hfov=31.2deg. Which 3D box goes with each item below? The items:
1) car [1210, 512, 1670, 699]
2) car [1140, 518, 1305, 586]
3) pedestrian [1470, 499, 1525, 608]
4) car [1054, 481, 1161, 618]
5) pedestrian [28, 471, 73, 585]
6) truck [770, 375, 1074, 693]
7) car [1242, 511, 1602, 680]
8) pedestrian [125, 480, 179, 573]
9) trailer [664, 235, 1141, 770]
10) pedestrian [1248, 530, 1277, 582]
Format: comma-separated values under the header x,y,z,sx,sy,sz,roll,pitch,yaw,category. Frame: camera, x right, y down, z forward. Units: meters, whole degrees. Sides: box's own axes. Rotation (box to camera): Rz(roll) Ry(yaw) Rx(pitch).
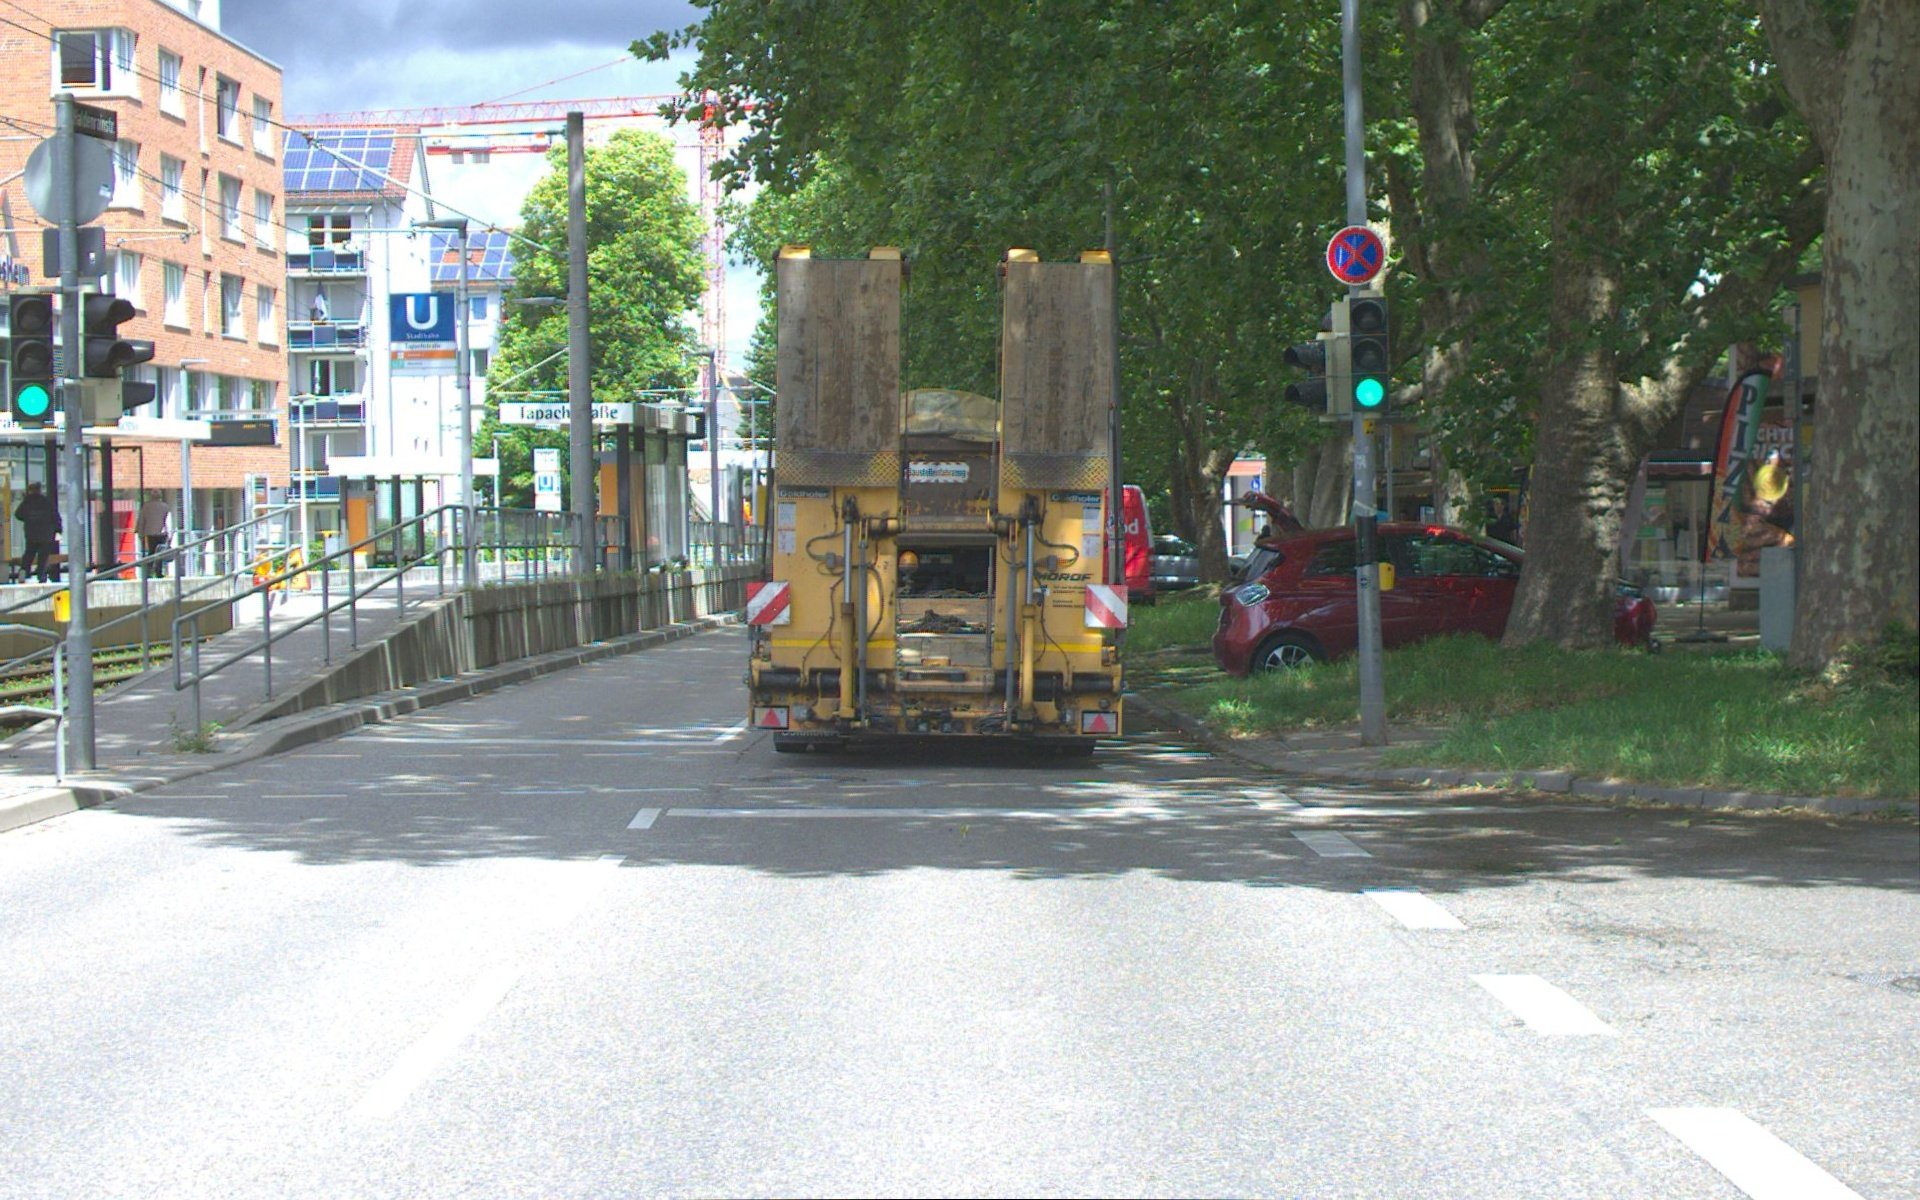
x,y,z,sx,sy,sz,roll,pitch,yaw,category
4.339,0.036,31.550,4.030,1.606,1.730,-1,1,4,car
6.518,-1.192,85.681,3.829,1.557,1.620,-2,1,-5,car
9.526,-0.818,60.968,0.743,1.877,0.941,-3,0,0,pedestrian
2.960,-1.034,70.097,1.904,2.572,6.834,-2,1,1,car
-14.197,-1.124,53.668,0.534,1.757,0.528,-1,1,-2,pedestrian
-0.374,-0.720,37.937,2.989,3.124,7.888,0,1,0,truck
4.785,-0.057,35.912,3.406,1.509,1.610,-4,1,-3,car
-14.231,-1.287,60.582,0.751,1.623,0.816,0,1,1,pedestrian
-0.382,-0.740,28.435,3.154,3.540,11.097,0,1,0,trailer
8.241,-1.207,93.638,0.694,1.387,0.512,-1,1,-3,pedestrian
